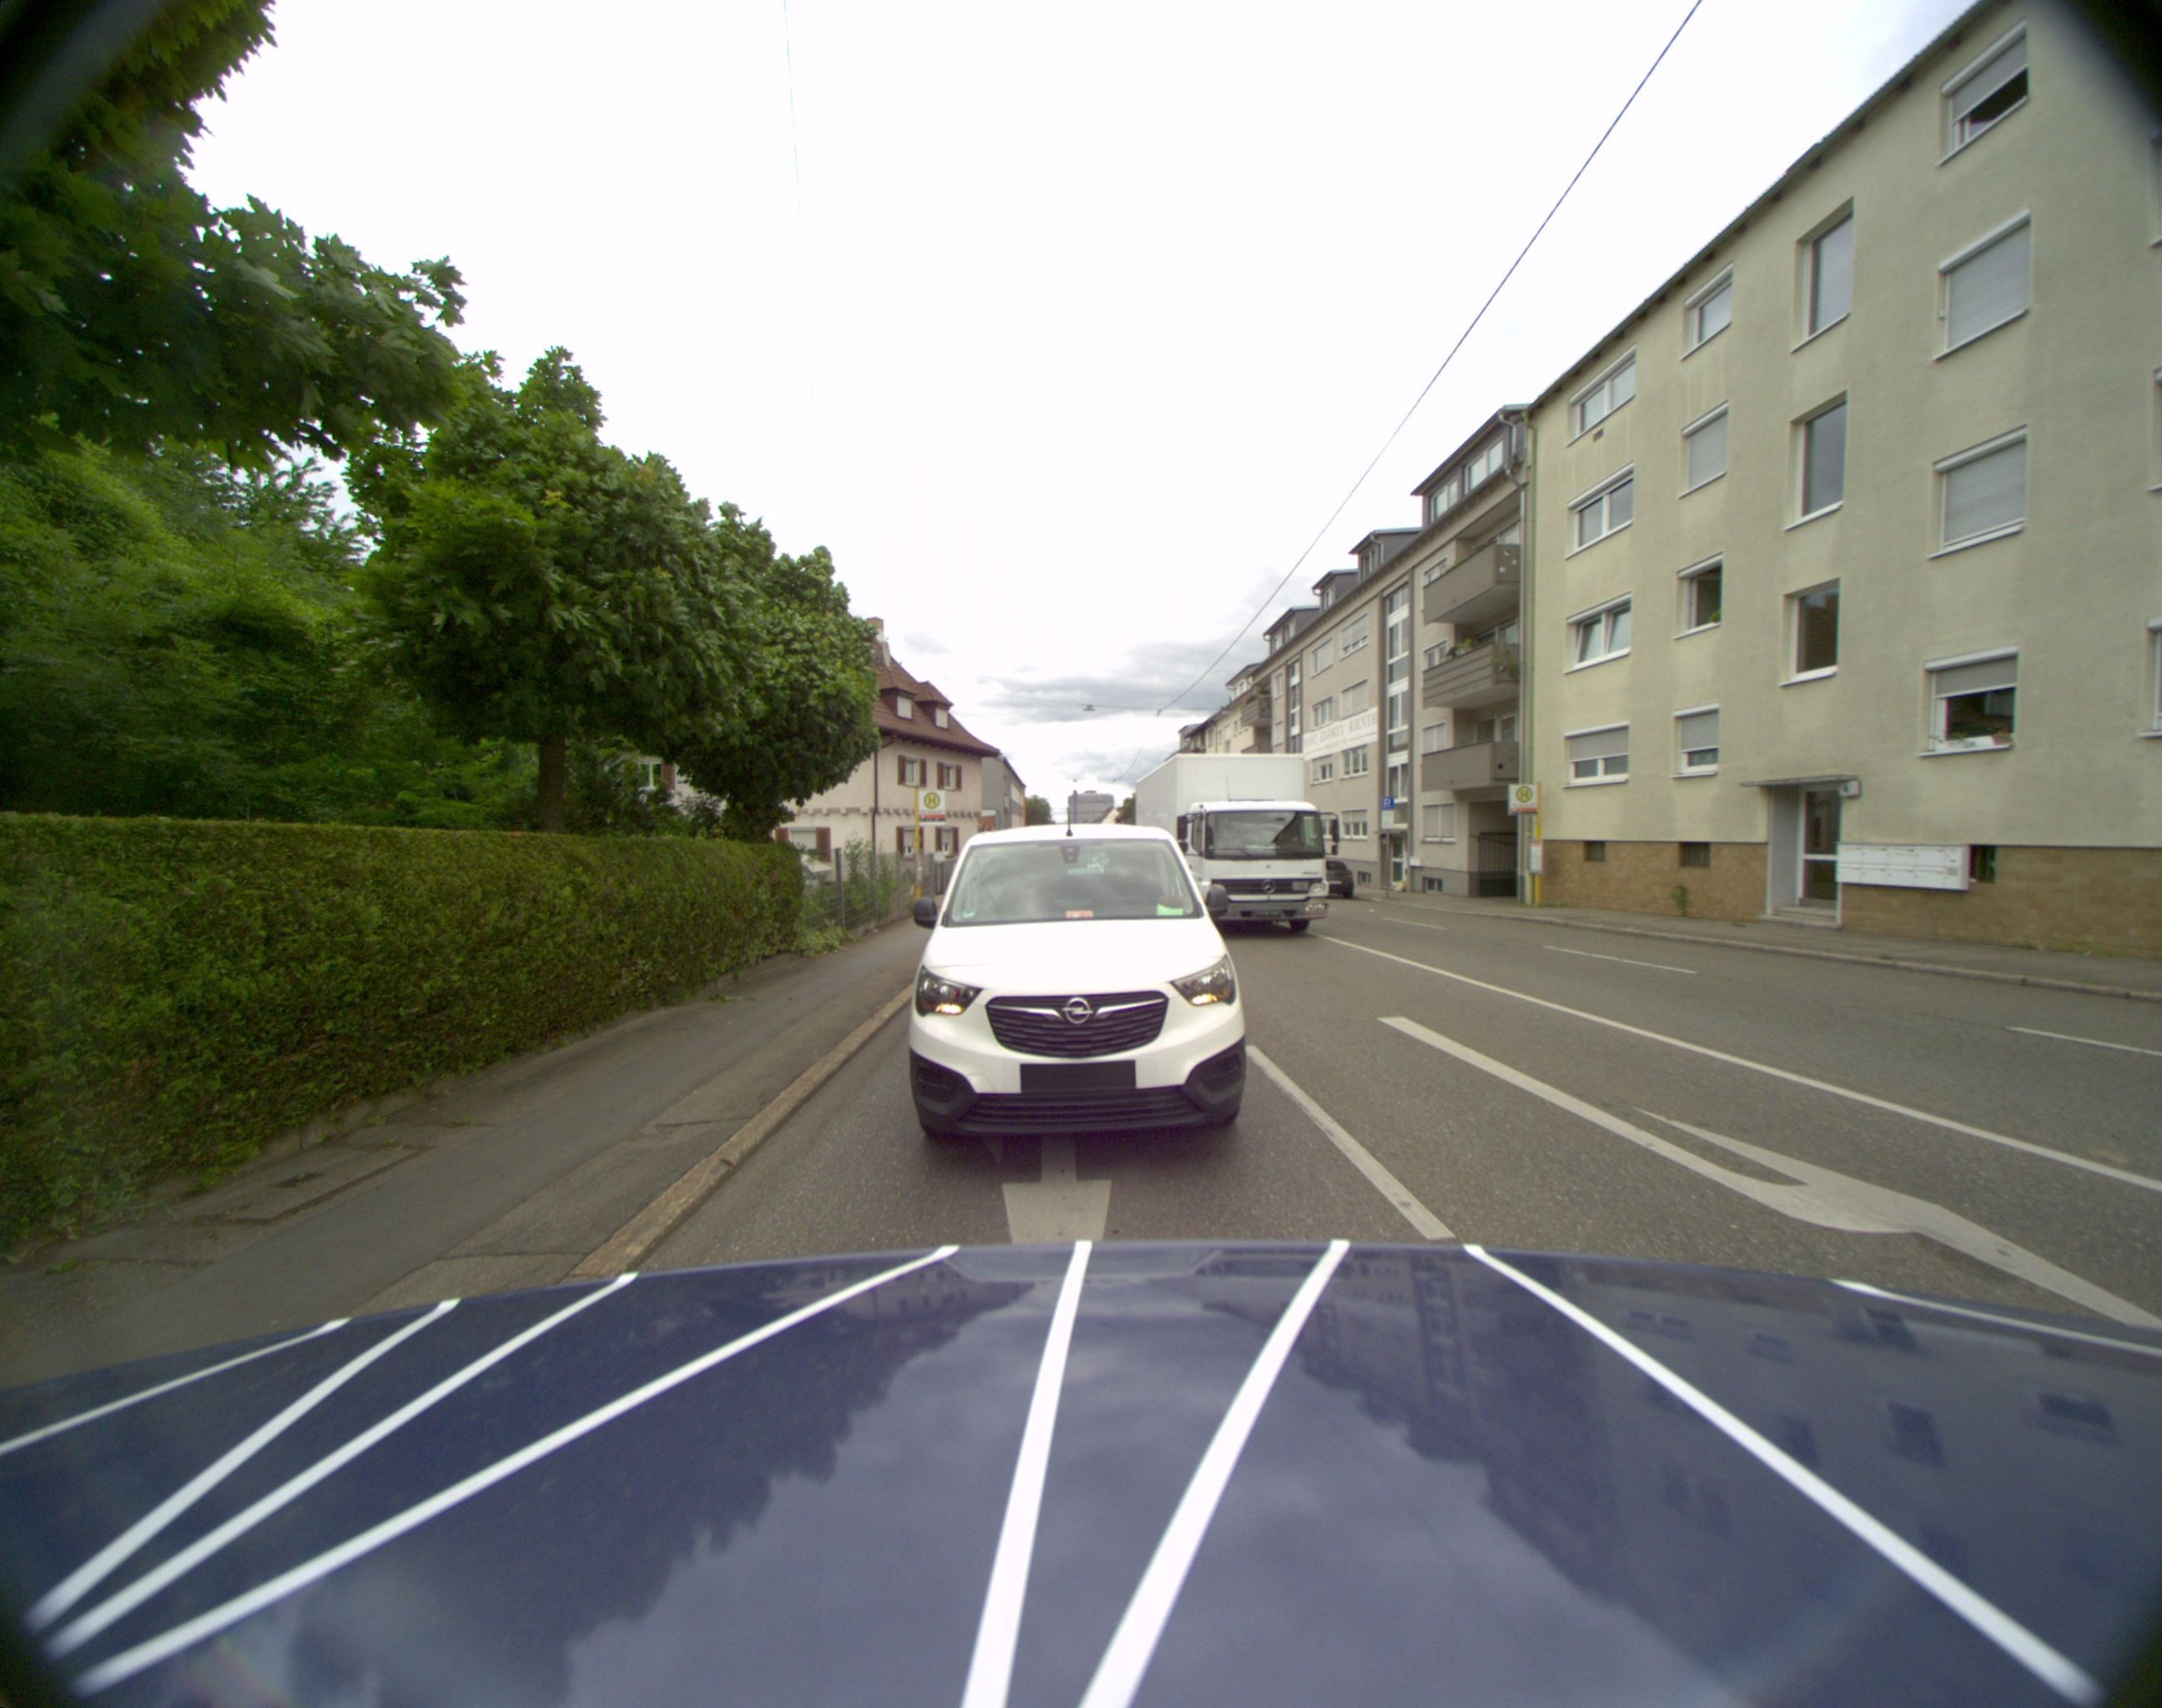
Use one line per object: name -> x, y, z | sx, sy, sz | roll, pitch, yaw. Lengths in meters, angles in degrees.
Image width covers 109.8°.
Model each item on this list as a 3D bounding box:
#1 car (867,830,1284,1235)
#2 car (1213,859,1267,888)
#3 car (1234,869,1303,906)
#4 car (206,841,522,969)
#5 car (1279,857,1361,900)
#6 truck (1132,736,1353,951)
car -> -0.080, 0.783, 5.422 | 1.803, 1.736, 3.999 | -3, 1, -2
car -> 8.282, 0.989, 39.954 | 1.773, 1.397, 4.306 | 1, 0, -2
car -> 8.445, 1.479, 34.640 | 1.773, 1.397, 4.717 | 1, 0, -2
car -> -13.081, 0.793, 14.064 | 1.994, 2.002, 4.008 | -1, 0, 40
car -> 8.967, 0.876, 28.817 | 1.773, 1.428, 3.800 | 1, 0, -2
truck -> 3.015, -0.167, 16.881 | 2.776, 3.554, 8.062 | -2, 0, -3
